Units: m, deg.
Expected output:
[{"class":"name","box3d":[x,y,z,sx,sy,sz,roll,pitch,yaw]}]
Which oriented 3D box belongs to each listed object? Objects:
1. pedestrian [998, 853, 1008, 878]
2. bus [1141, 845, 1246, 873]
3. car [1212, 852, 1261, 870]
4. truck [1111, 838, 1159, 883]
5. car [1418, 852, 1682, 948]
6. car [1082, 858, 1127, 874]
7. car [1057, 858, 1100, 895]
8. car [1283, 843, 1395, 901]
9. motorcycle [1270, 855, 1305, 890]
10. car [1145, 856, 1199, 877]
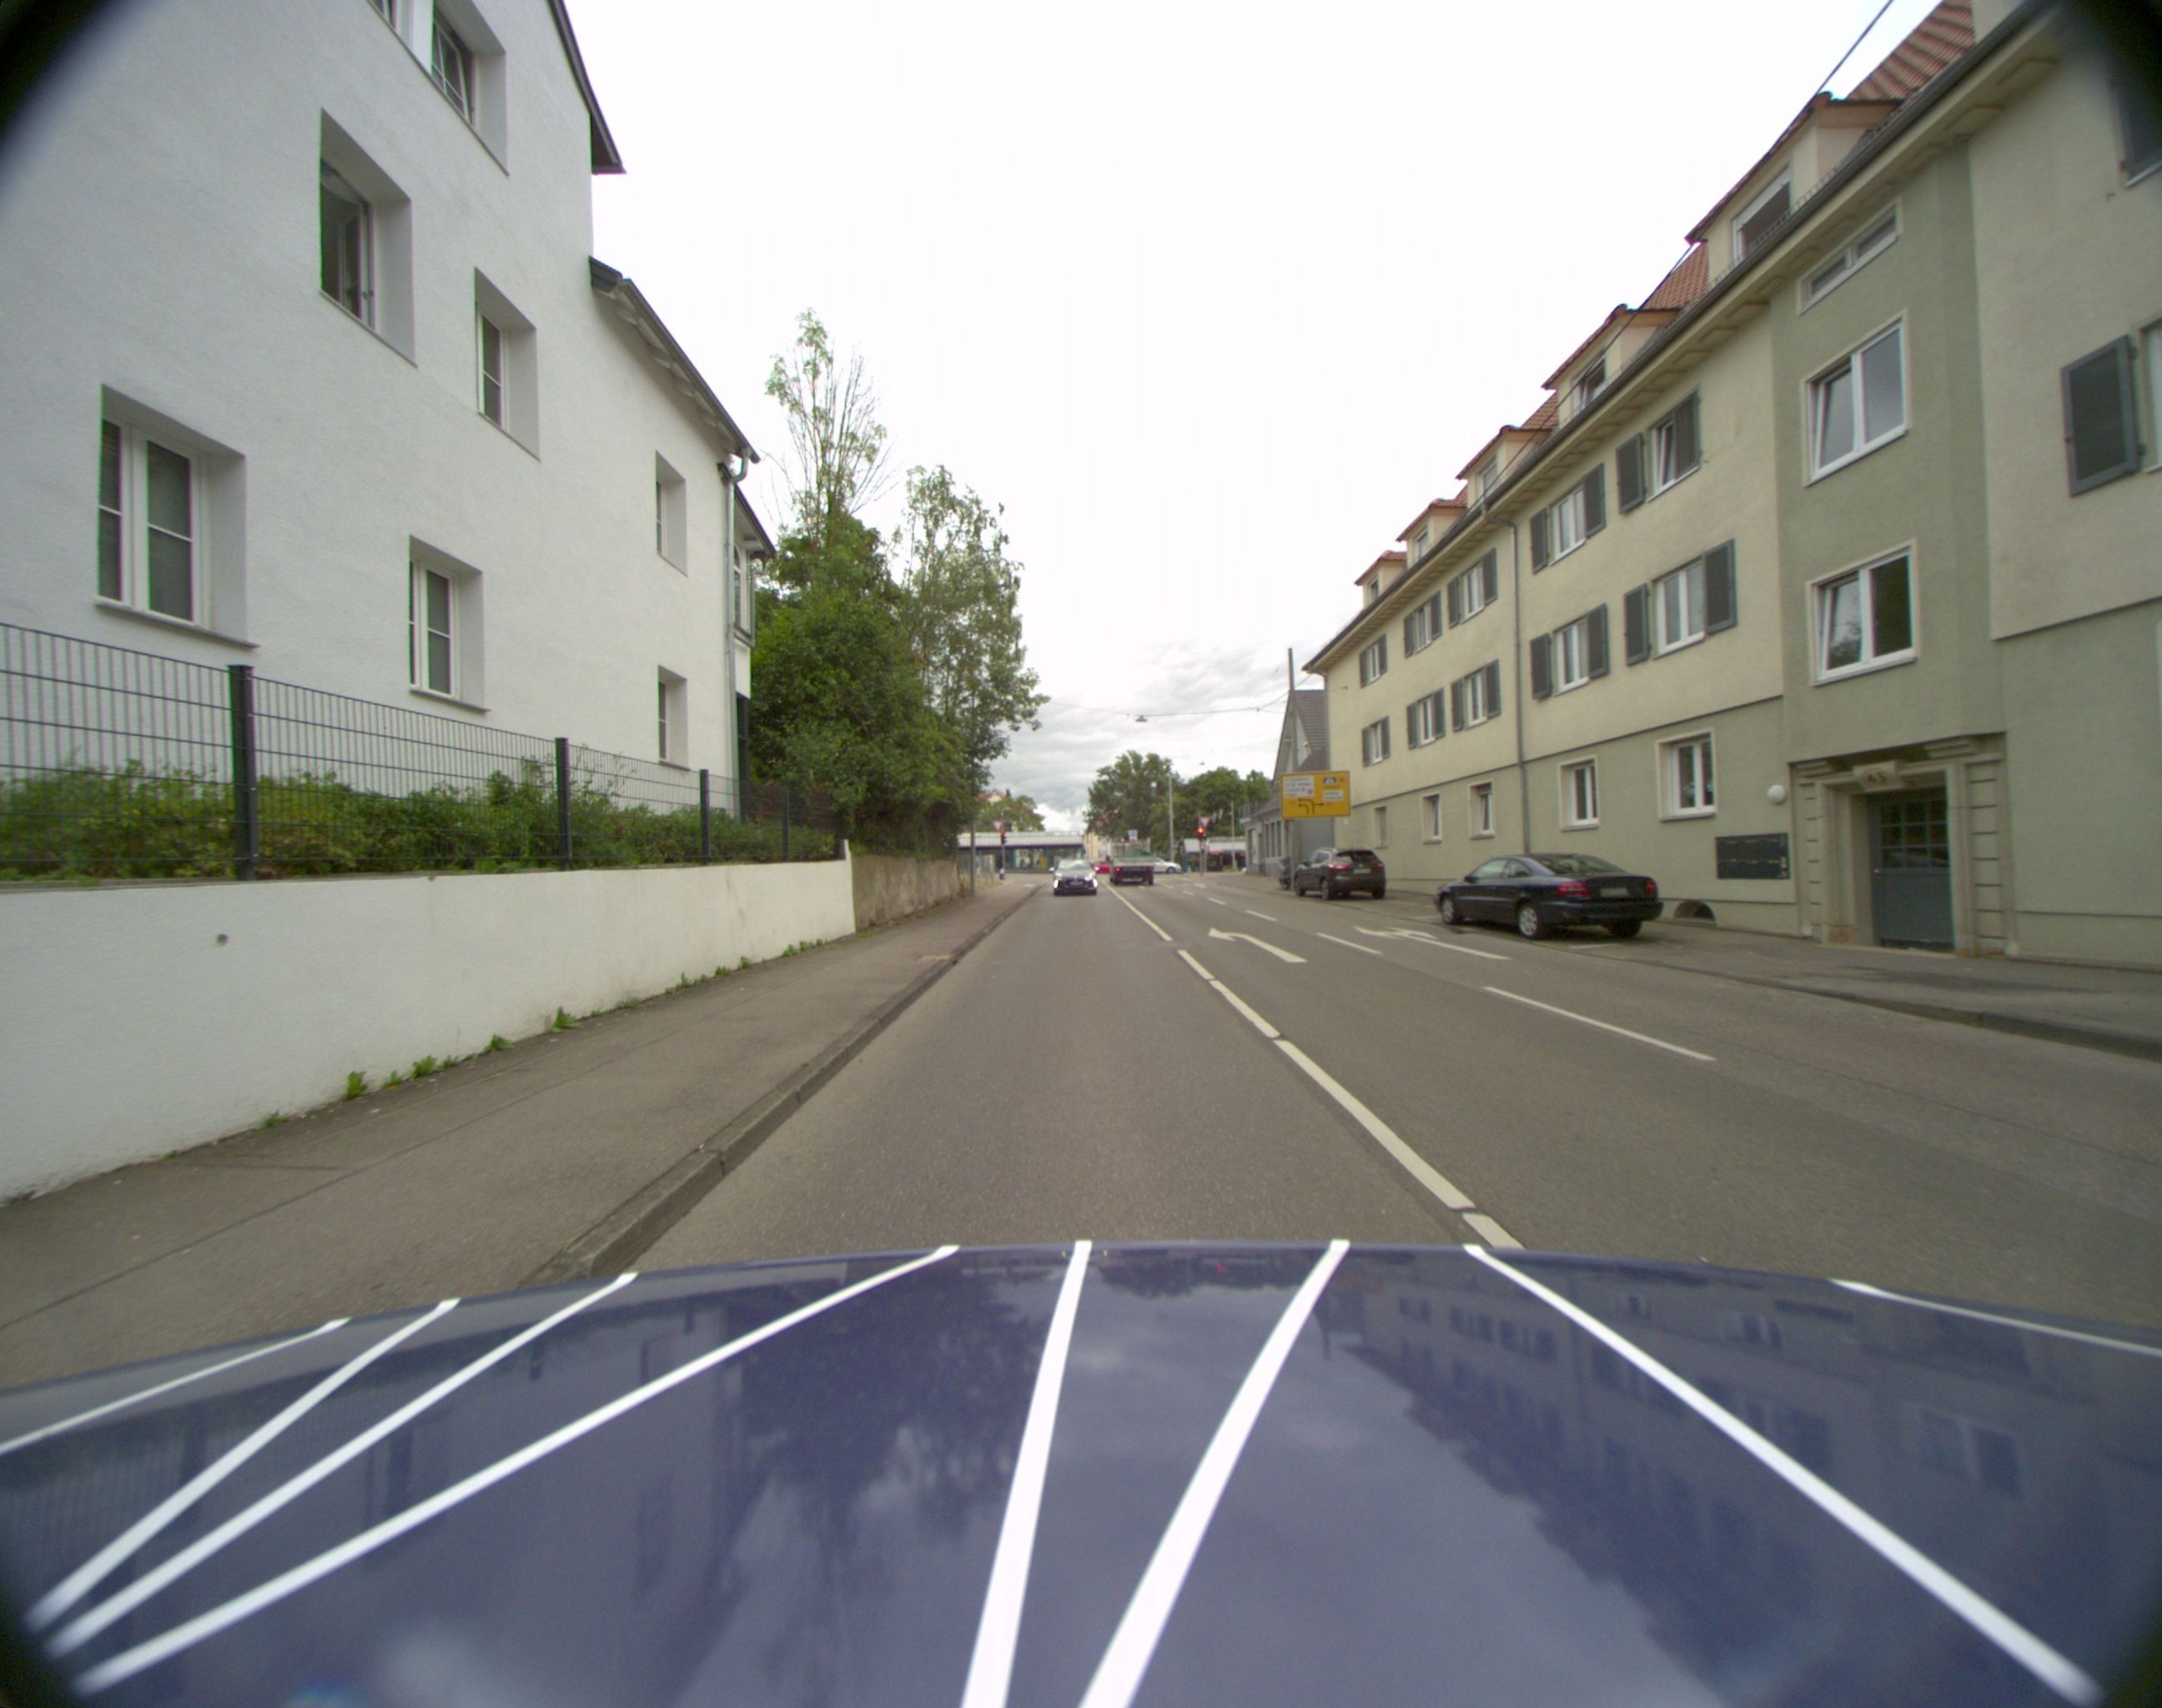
[{"class":"pedestrian","box3d":[-5.080,0.758,49.375,0.553,1.581,0.672,2,0,-3]},{"class":"bus","box3d":[12.886,0.557,87.570,11.846,3.043,2.001,0,-2,3]},{"class":"car","box3d":[13.323,0.630,65.272,3.994,1.503,2.001,0,0,8]},{"class":"truck","box3d":[2.807,0.323,40.926,2.126,2.188,6.589,-1,0,0]},{"class":"car","box3d":[8.074,0.687,13.751,1.715,1.395,4.845,-1,0,-1]},{"class":"car","box3d":[2.206,1.104,71.989,3.999,1.401,1.779,0,0,-7]},{"class":"car","box3d":[-0.134,0.871,30.966,1.646,1.390,3.781,-1,0,-1]},{"class":"car","box3d":[8.142,0.536,24.477,1.827,1.623,4.695,-2,0,-2]},{"class":"motorcycle","box3d":[8.034,0.688,29.650,0.627,1.283,2.230,-3,0,-2]},{"class":"car","box3d":[7.308,0.986,61.308,3.999,1.683,1.974,0,0,-6]}]
